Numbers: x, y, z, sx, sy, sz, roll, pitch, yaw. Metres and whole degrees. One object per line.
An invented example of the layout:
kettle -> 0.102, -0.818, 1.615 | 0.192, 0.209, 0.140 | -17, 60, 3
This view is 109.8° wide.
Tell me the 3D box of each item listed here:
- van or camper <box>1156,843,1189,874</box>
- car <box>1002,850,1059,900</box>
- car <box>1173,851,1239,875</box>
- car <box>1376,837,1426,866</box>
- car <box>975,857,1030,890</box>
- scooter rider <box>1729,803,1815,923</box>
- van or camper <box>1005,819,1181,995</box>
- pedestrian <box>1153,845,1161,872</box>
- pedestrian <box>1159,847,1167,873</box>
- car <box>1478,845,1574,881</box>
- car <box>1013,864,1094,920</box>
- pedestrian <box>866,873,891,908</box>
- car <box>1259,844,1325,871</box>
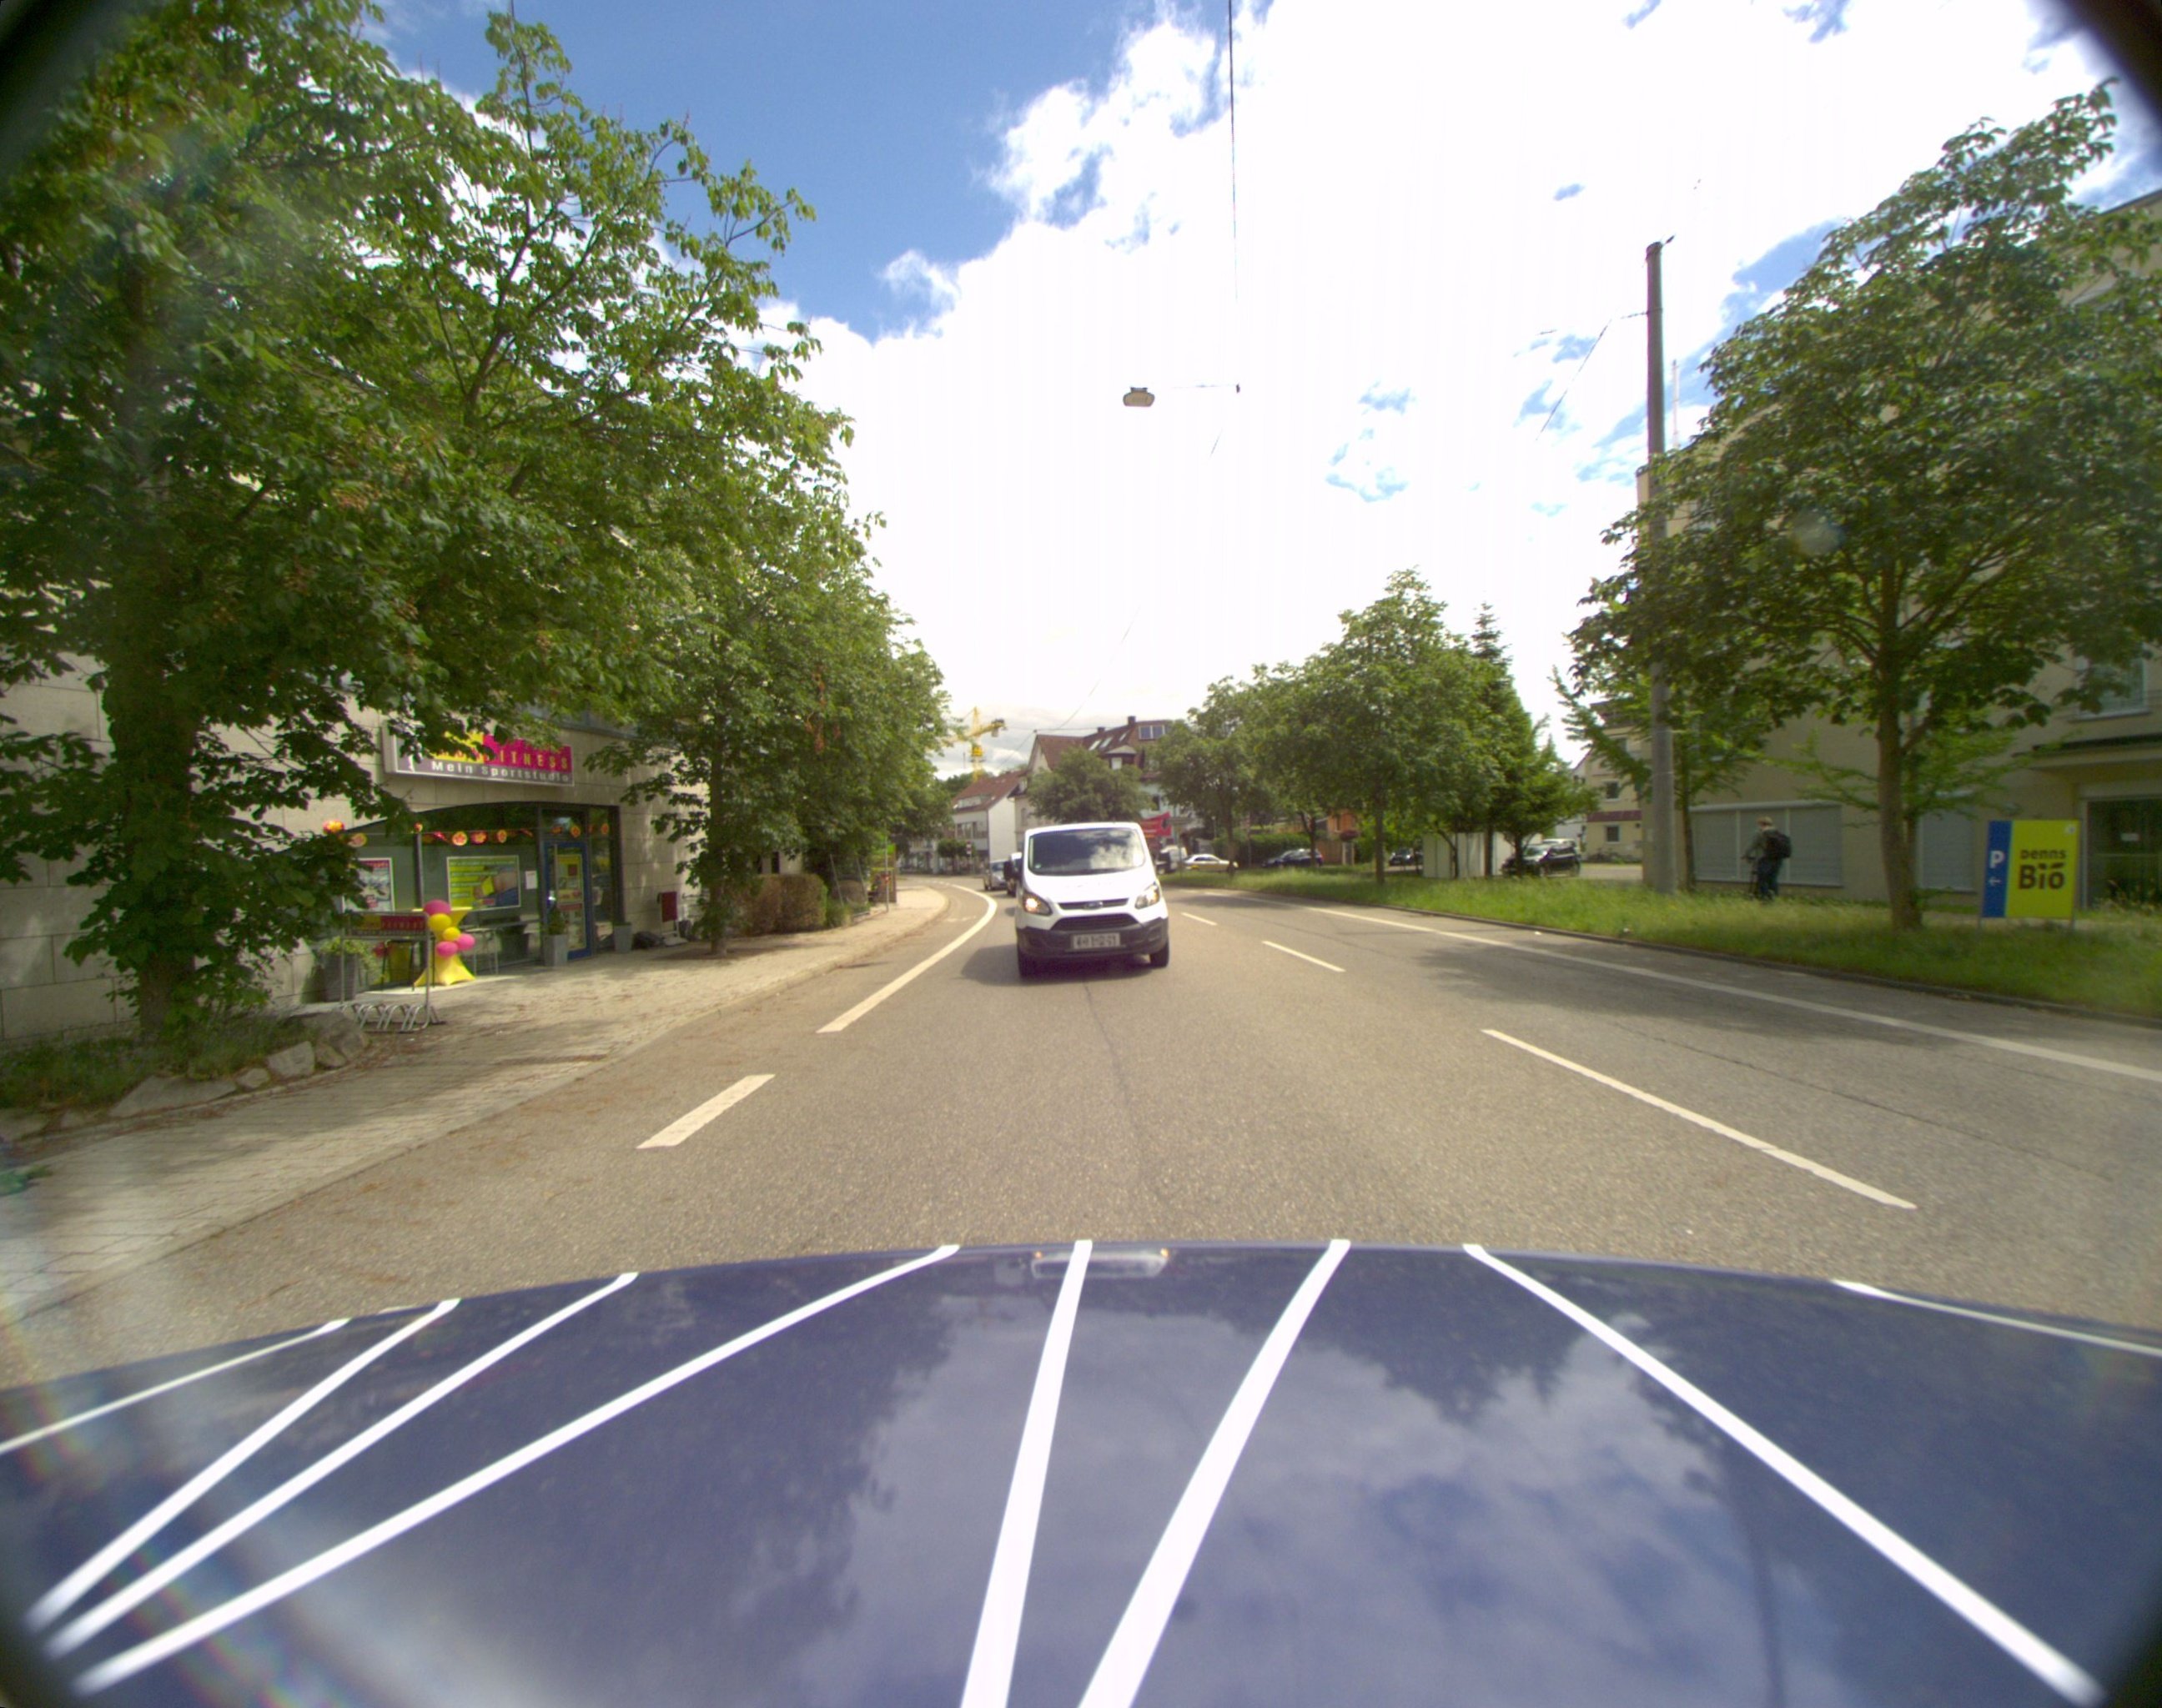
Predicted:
van or camper -> 6.648, 0.287, 55.619 | 1.794, 2.077, 3.810 | -4, 1, -1
car -> -2.182, 0.814, 32.070 | 1.853, 1.805, 3.996 | -4, 1, -10
car -> 8.446, 0.611, 51.497 | 4.047, 1.314, 1.534 | -5, 1, -16
car -> 24.365, -0.203, 57.758 | 4.008, 2.002, 1.976 | -2, 0, -43
car -> -4.086, 0.953, 38.930 | 1.696, 1.477, 3.993 | -5, 1, -21
scooter rider -> 12.119, 0.140, 13.347 | 0.678, 2.002, 0.794 | -4, 2, -2
van or camper -> -0.002, 0.623, 11.530 | 2.027, 2.002, 5.101 | -2, 0, -3
pedestrian -> 5.774, 0.359, 57.738 | 0.425, 2.002, 0.363 | -4, 2, 0
pedestrian -> 6.218, 0.472, 57.775 | 0.383, 1.979, 0.443 | -4, 2, 0
car -> 18.650, 0.366, 31.792 | 4.007, 1.411, 1.789 | 0, -1, -32
car -> -0.893, 1.030, 22.127 | 1.841, 1.382, 3.997 | -2, 0, -9
pedestrian -> -7.886, 1.401, 29.597 | 0.731, 1.293, 0.753 | -2, 1, -3
car -> 14.392, 0.222, 51.956 | 3.977, 1.672, 1.716 | -2, 1, -6
